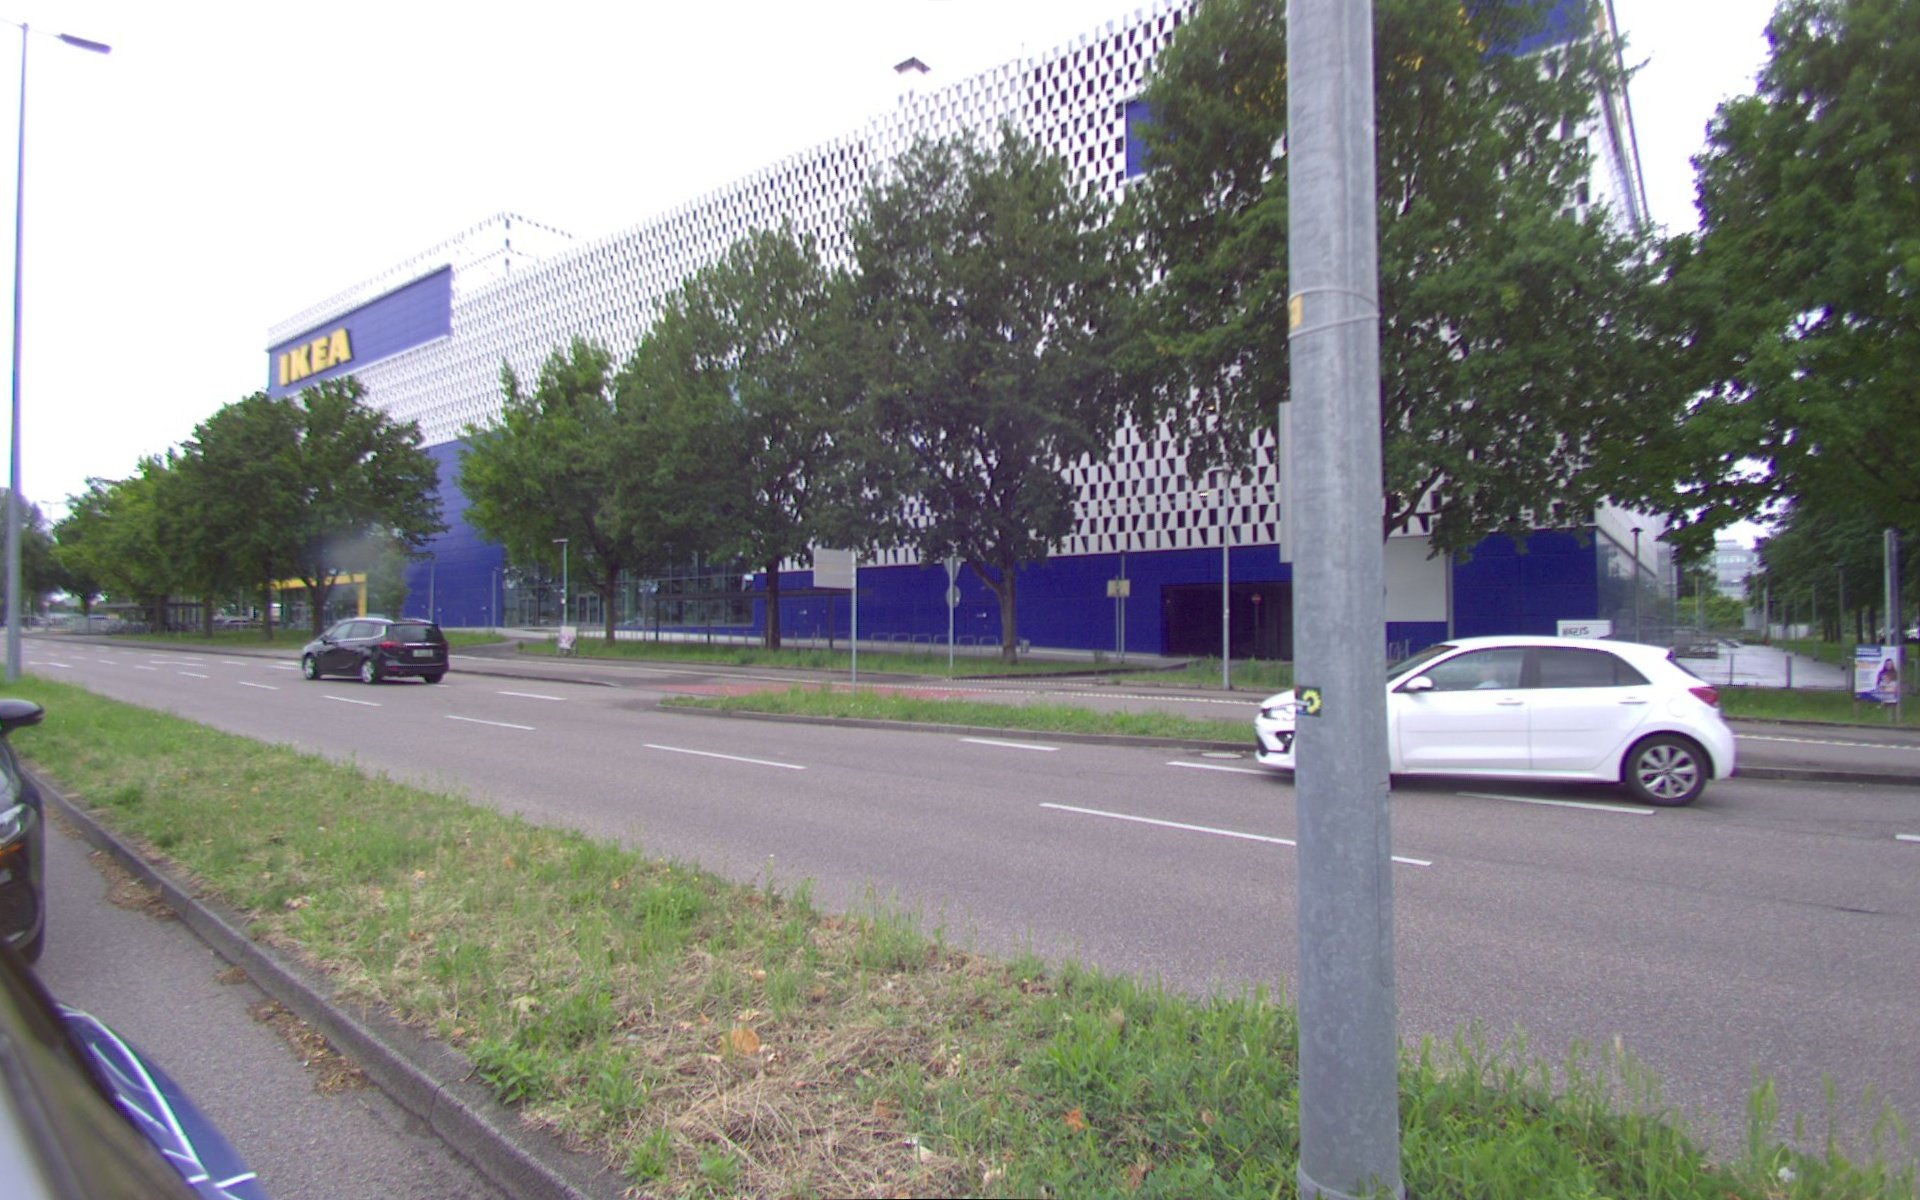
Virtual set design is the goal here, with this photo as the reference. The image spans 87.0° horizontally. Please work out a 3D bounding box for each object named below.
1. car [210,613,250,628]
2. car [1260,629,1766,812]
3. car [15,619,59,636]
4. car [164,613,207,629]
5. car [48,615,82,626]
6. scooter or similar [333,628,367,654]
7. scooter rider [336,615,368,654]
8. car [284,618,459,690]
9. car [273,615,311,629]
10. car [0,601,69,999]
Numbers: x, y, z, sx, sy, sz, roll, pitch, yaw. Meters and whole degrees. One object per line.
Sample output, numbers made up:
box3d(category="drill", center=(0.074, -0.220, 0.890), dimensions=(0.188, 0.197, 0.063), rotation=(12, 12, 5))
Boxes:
box3d(category="car", center=(-97.391, 2.704, 135.020), dimensions=(1.994, 1.829, 3.955), rotation=(-1, 0, 33))
box3d(category="car", center=(4.952, 1.038, 9.705), dimensions=(3.896, 1.463, 1.778), rotation=(0, -2, 15))
box3d(category="car", center=(-118.500, 3.556, 129.974), dimensions=(1.998, 2.029, 3.948), rotation=(-1, 0, 38))
box3d(category="car", center=(-86.389, 2.308, 112.914), dimensions=(1.741, 1.652, 3.522), rotation=(-1, 0, 37))
box3d(category="car", center=(-161.126, 3.739, 182.190), dimensions=(1.741, 1.837, 4.239), rotation=(-1, 0, 37))
box3d(category="scooter or similar", center=(-27.233, 1.818, 45.184), dimensions=(1.417, 1.134, 0.585), rotation=(-1, 2, 24))
box3d(category="scooter rider", center=(-27.150, 1.533, 45.184), dimensions=(1.033, 1.733, 0.791), rotation=(-1, -1, 24))
box3d(category="car", center=(-15.055, 1.344, 25.858), dimensions=(4.342, 1.668, 1.830), rotation=(0, -3, 29))
box3d(category="car", center=(-93.296, 3.009, 141.291), dimensions=(1.994, 1.829, 3.955), rotation=(-1, 0, 33))
box3d(category="car", center=(-5.553, 0.791, 4.523), dimensions=(4.194, 1.445, 1.835), rotation=(-2, -1, 41))
